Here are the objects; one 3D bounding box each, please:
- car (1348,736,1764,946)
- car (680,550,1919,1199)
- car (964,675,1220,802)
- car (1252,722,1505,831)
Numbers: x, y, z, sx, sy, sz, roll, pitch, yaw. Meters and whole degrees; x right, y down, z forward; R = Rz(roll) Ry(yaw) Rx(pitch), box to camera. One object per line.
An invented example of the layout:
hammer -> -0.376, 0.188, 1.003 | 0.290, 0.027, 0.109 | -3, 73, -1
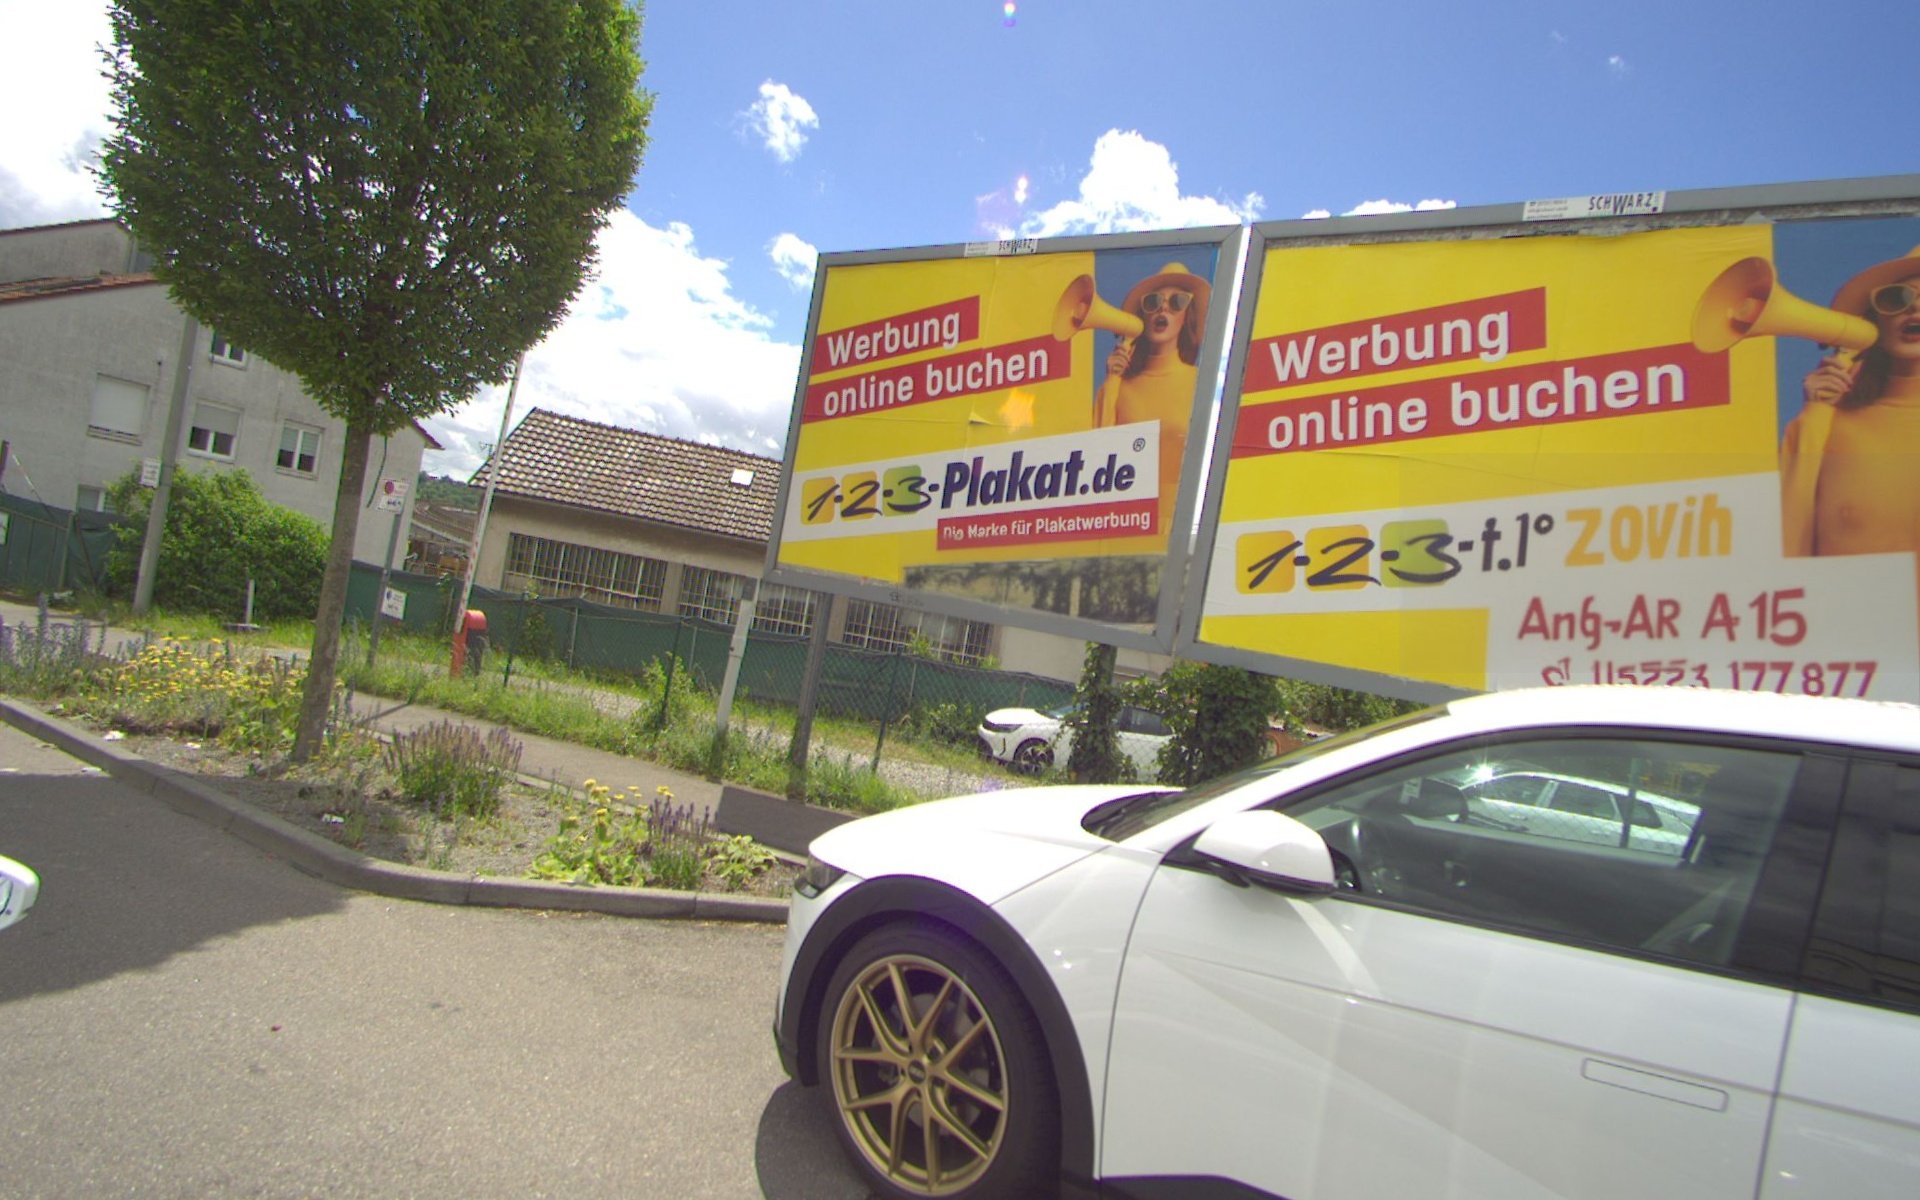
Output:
car -> 8.156, 3.180, 14.221 | 1.741, 1.705, 4.630 | 7, -1, -38
car -> 1.557, 0.902, 2.488 | 4.395, 1.584, 1.843 | 6, -1, 35
car -> 2.240, 2.394, 17.630 | 3.976, 1.406, 1.742 | 10, -1, -8
car -> 7.330, 3.090, 17.642 | 3.984, 1.407, 1.519 | 7, -1, -18
